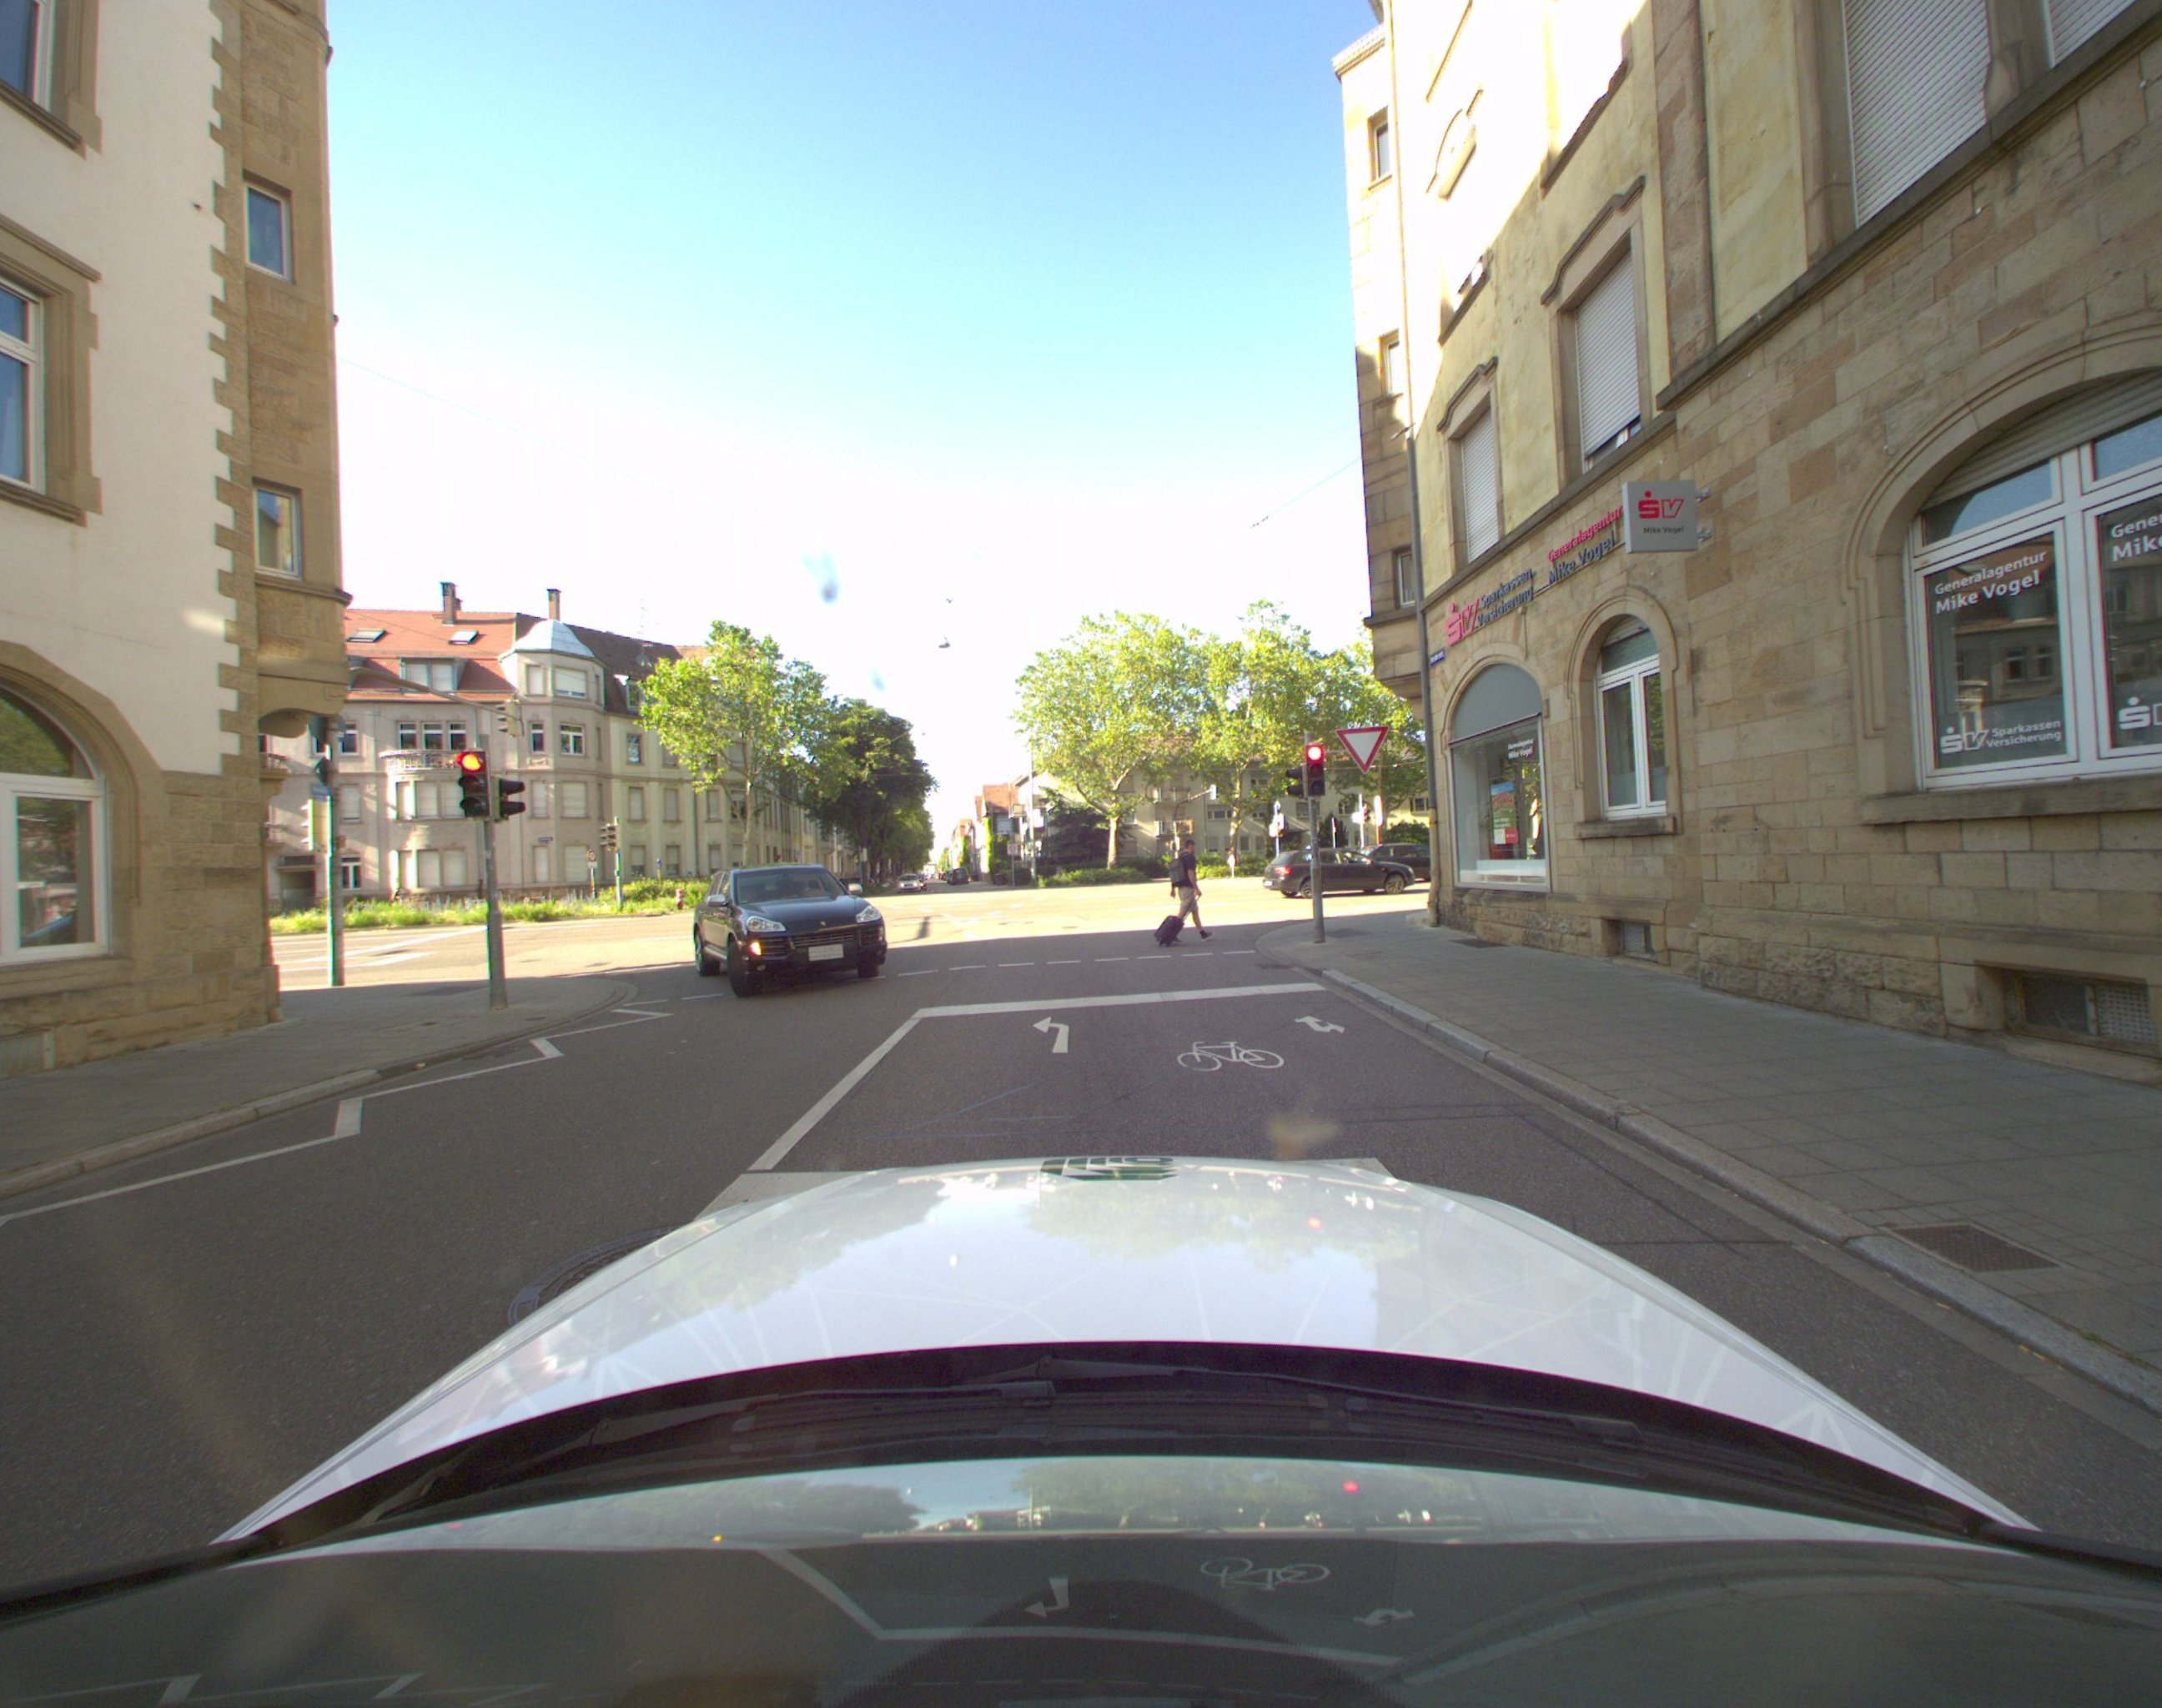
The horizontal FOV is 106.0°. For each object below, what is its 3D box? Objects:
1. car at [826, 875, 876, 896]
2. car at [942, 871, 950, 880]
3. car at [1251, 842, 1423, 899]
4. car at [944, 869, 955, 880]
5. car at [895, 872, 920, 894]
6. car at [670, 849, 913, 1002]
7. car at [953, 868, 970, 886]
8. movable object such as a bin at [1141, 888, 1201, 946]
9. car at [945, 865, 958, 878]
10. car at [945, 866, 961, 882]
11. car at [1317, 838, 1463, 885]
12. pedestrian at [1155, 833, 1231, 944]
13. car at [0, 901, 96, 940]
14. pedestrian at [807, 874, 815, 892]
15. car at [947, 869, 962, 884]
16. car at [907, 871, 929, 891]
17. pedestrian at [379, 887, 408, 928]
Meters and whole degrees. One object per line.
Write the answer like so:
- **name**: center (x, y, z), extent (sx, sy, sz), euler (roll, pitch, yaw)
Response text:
- **car**: center (-17.949, 2.469, 63.723), extent (3.636, 1.457, 1.650), euler (-2, 0, -14)
- **car**: center (-30.112, 4.819, 181.738), extent (1.773, 1.918, 3.522), euler (-4, 0, -10)
- **car**: center (7.646, 0.476, 24.473), extent (4.613, 1.456, 1.726), euler (-2, 0, -7)
- **car**: center (-23.740, 3.709, 147.194), extent (1.773, 1.918, 3.522), euler (-4, 0, -10)
- **car**: center (-13.591, 2.266, 63.826), extent (1.698, 1.483, 3.522), euler (-4, 0, -10)
- **car**: center (-4.488, 0.937, 12.093), extent (2.089, 1.693, 4.656), euler (-4, 0, -36)
- **car**: center (-13.948, 2.700, 95.022), extent (1.773, 1.918, 3.522), euler (-4, 0, -10)
- **movable object such as a bin**: center (1.503, 1.044, 13.677), extent (0.862, 0.892, 0.507), euler (-3, 0, -11)
- **car**: center (-20.368, 2.796, 128.420), extent (1.993, 2.014, 3.987), euler (0, -1, -9)
- **car**: center (-16.558, 2.553, 105.212), extent (1.773, 1.918, 3.522), euler (-4, 0, -10)
- **car**: center (11.300, 0.262, 29.889), extent (4.620, 1.456, 1.974), euler (-3, 0, -11)
- **pedestrian**: center (1.946, 0.584, 14.224), extent (1.068, 1.848, 0.744), euler (-2, -1, -18)
- **car**: center (-43.684, 2.753, 33.429), extent (3.791, 1.400, 1.636), euler (-2, 0, -18)
- **pedestrian**: center (-21.676, 2.351, 65.400), extent (0.489, 1.442, 0.702), euler (0, -1, -13)
- **car**: center (-18.071, 3.225, 116.384), extent (1.993, 2.014, 3.987), euler (0, -1, -9)
- **car**: center (-14.008, 2.323, 70.072), extent (1.698, 1.483, 3.522), euler (-4, 0, -10)
- **pedestrian**: center (-34.525, 2.687, 40.896), extent (0.836, 2.014, 0.749), euler (0, -1, -15)
